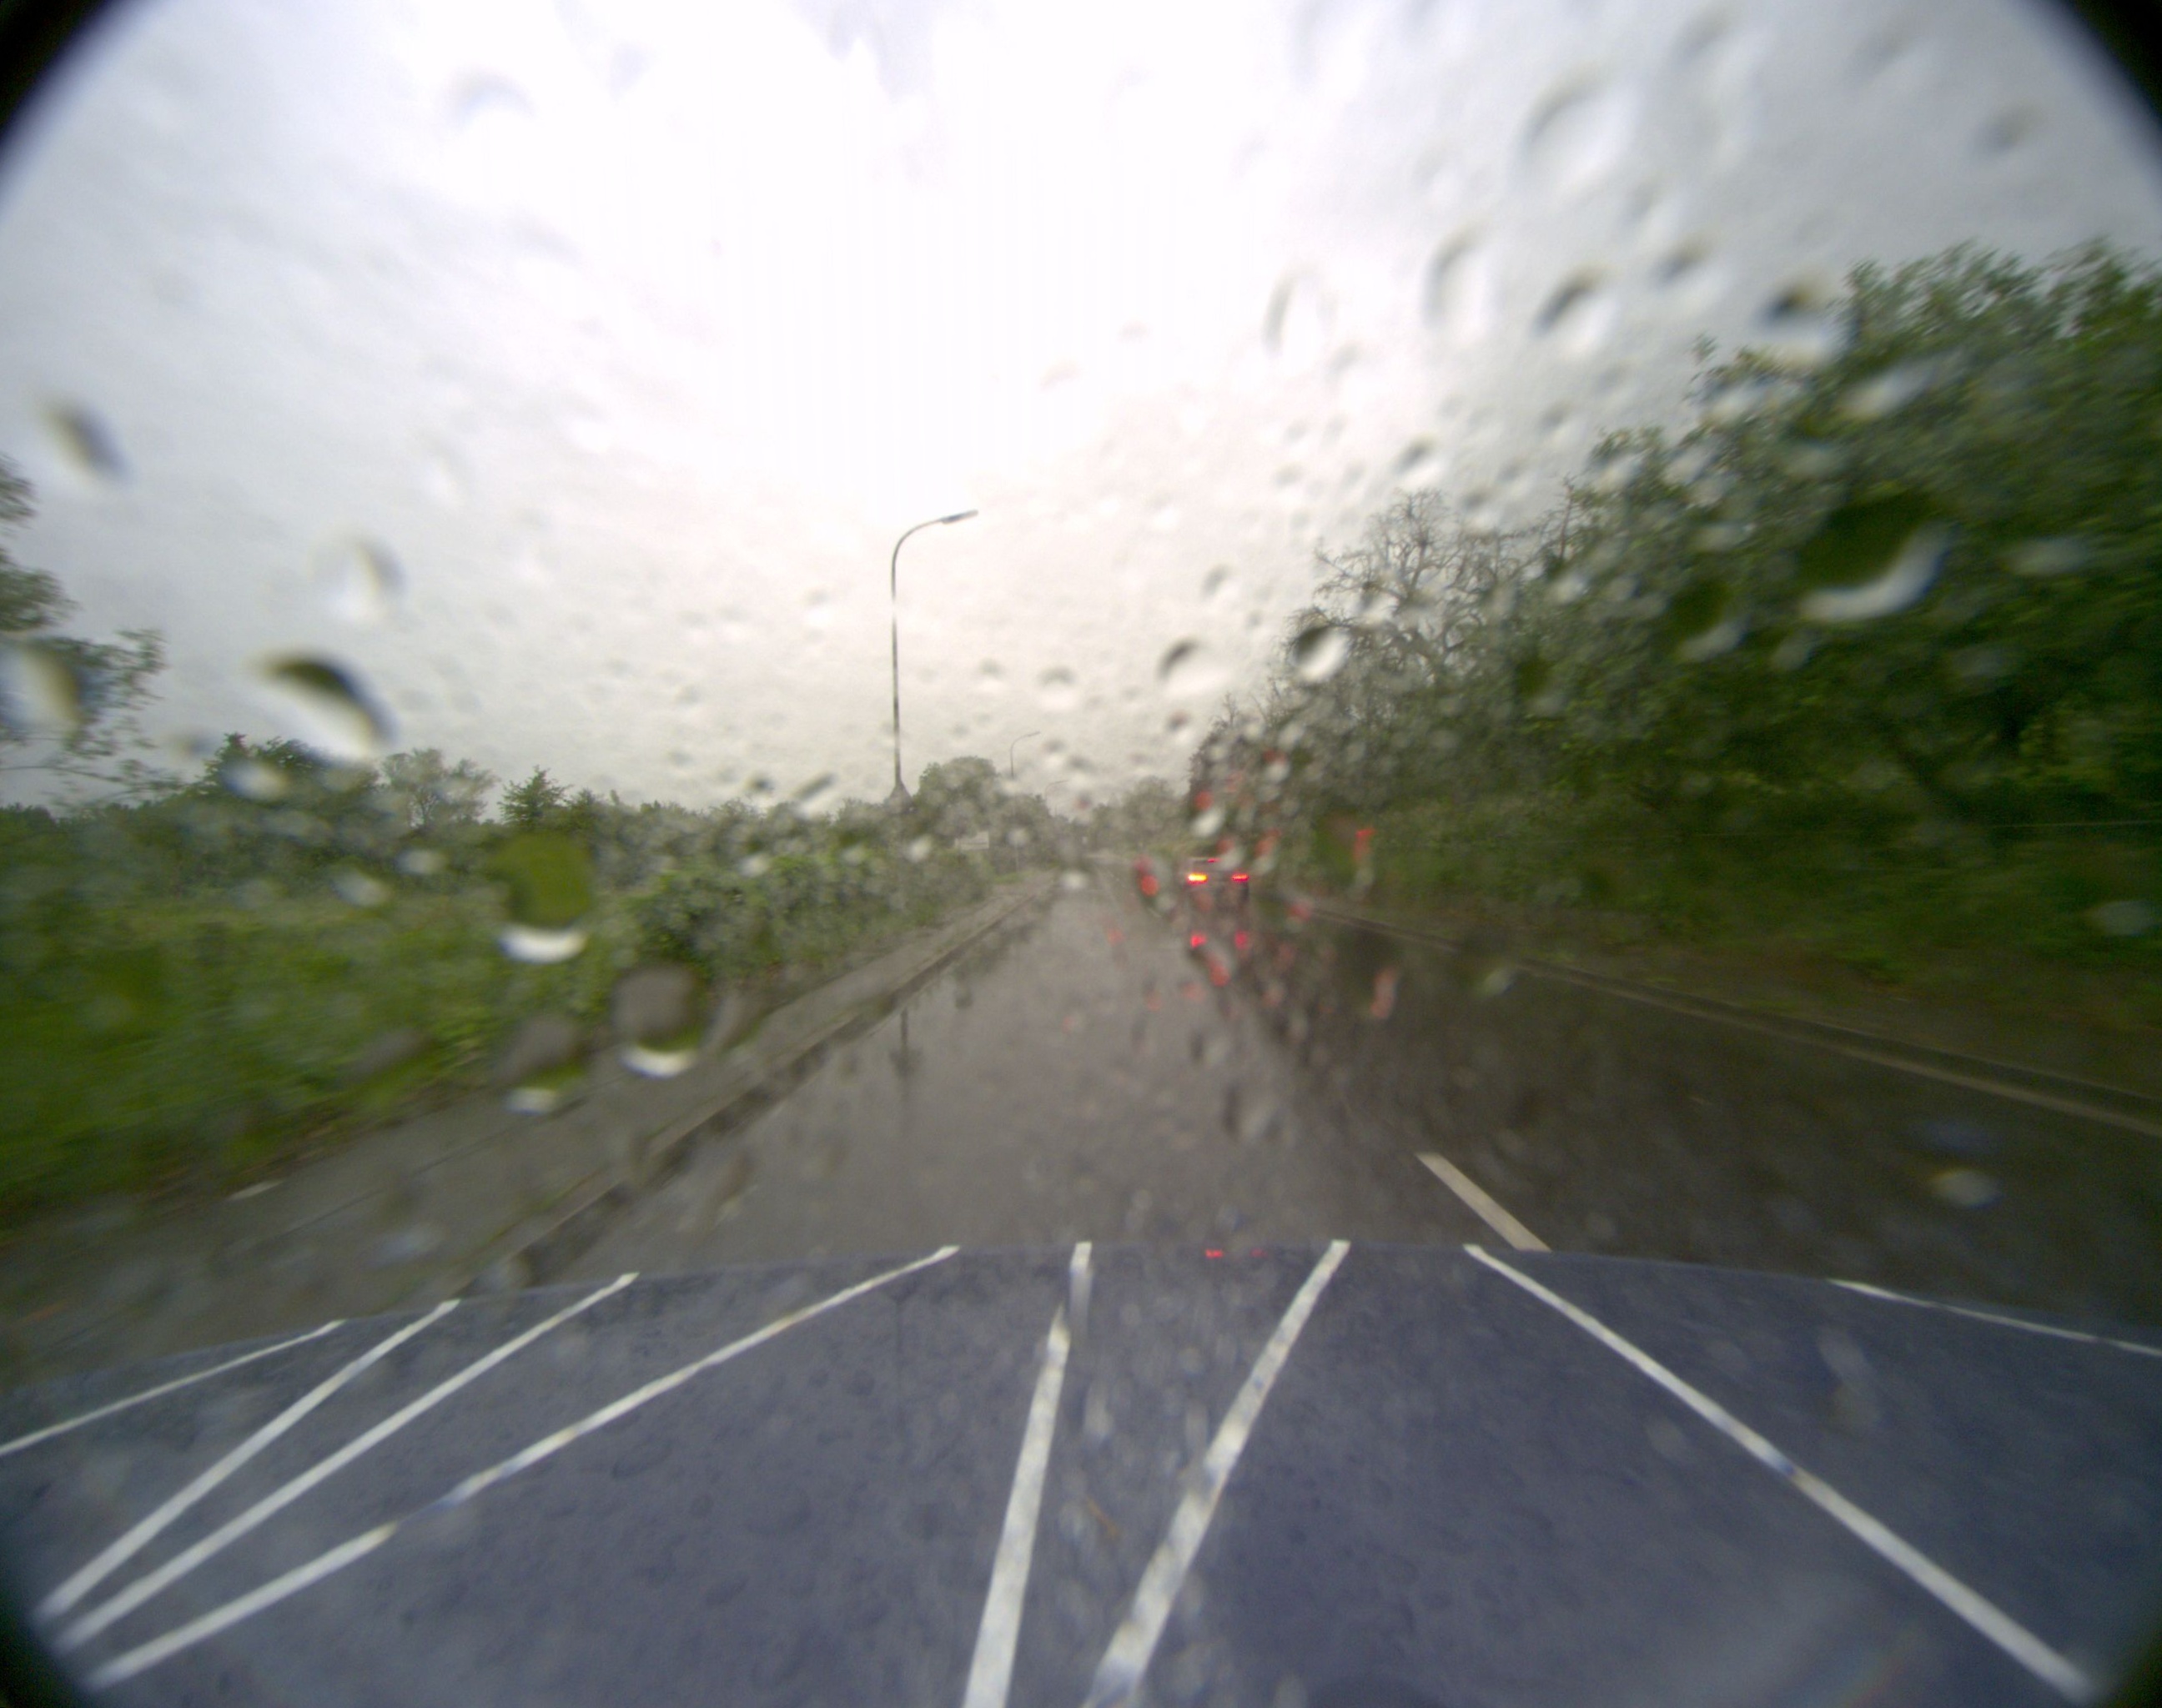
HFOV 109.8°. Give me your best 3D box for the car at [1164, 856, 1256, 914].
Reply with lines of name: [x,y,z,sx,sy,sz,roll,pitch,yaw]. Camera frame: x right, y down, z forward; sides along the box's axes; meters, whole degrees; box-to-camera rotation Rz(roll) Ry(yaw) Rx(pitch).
car: [3.638,0.827,22.239,1.998,1.445,4.428,-2,0,1]
